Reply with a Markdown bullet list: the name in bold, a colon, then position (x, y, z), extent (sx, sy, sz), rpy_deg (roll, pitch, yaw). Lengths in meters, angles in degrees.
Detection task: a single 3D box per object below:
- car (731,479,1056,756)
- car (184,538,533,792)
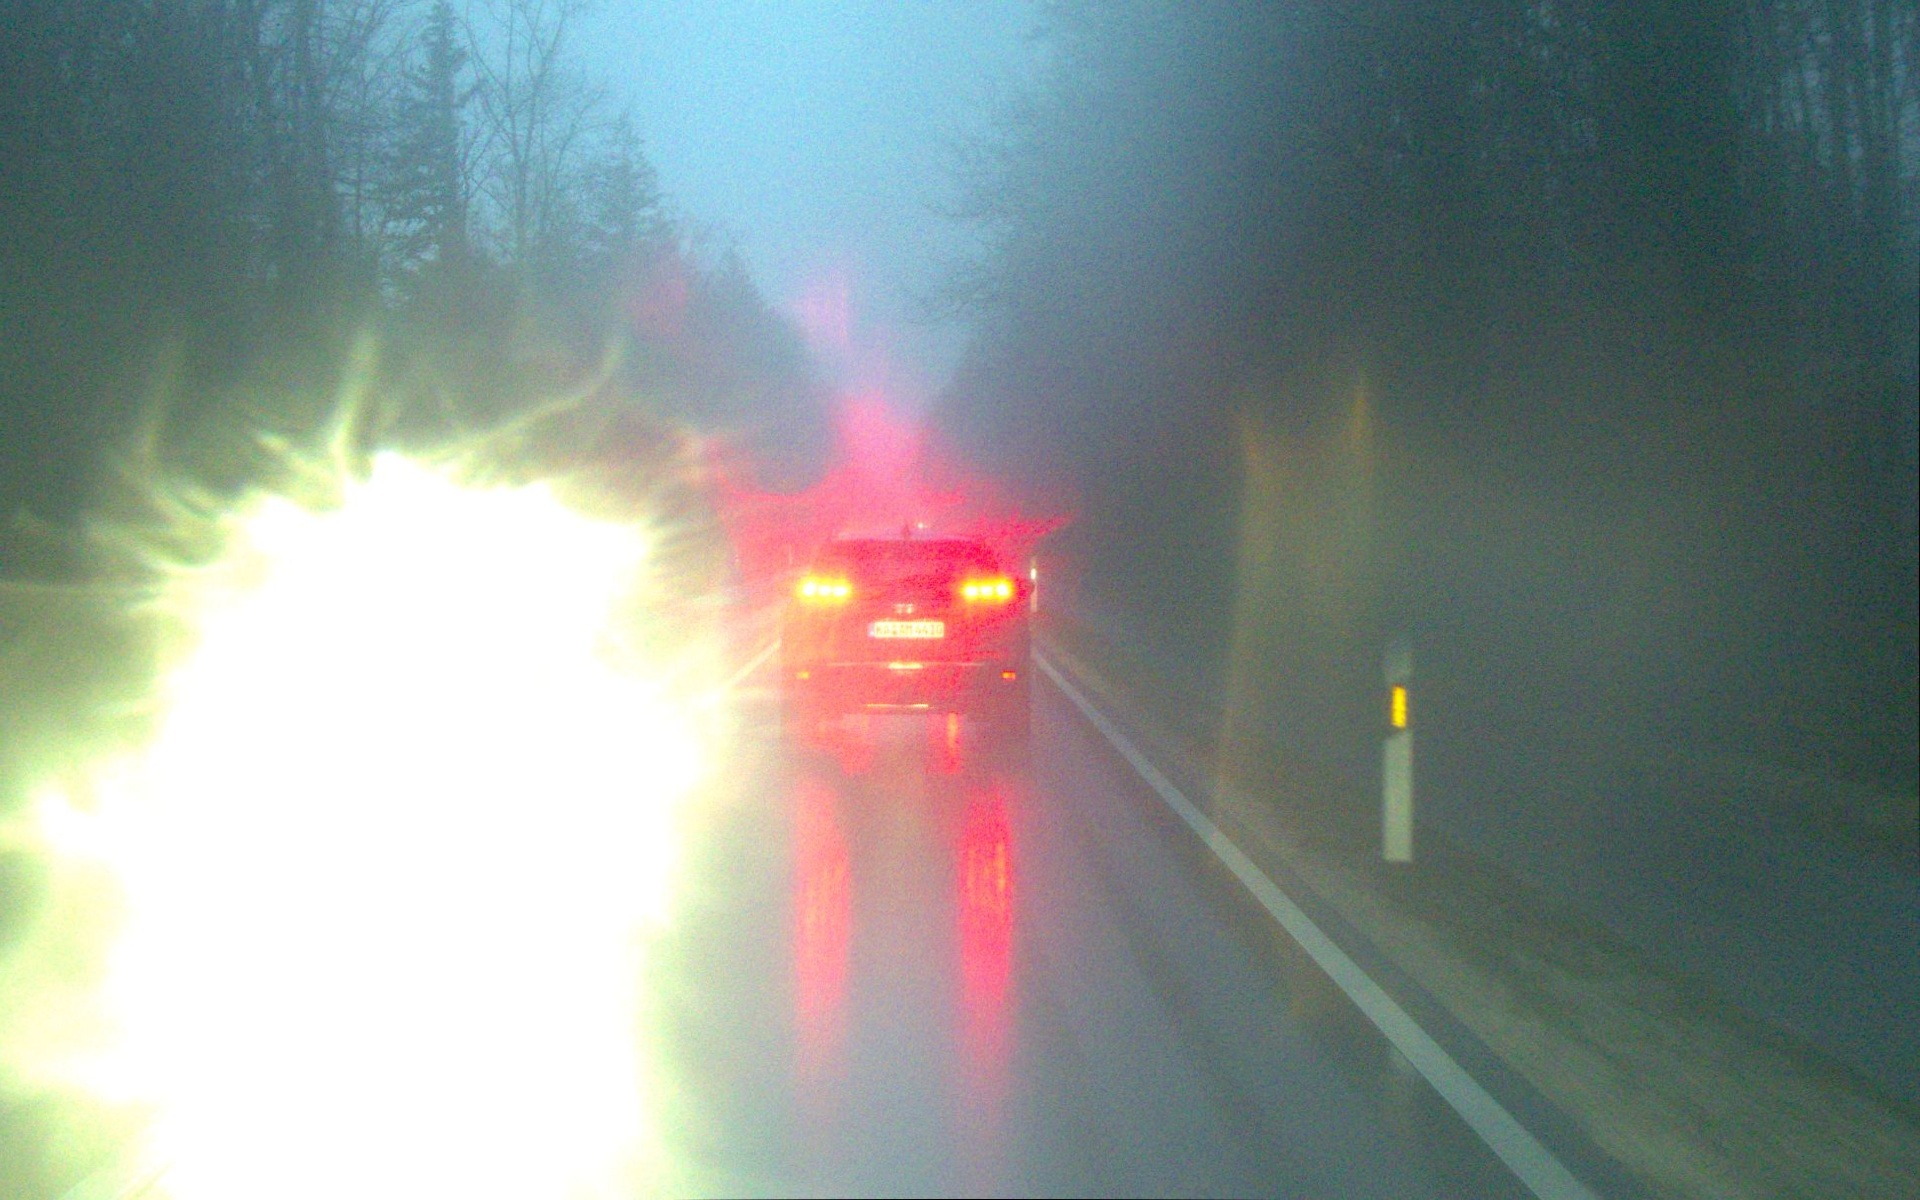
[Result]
- **car**: position (-0.503, 0.073, 25.886), extent (2.198, 1.871, 4.827), rpy_deg (1, 1, -1)
- **car**: position (-3.935, 0.365, 23.052), extent (1.598, 1.490, 3.895), rpy_deg (-2, 1, 0)
